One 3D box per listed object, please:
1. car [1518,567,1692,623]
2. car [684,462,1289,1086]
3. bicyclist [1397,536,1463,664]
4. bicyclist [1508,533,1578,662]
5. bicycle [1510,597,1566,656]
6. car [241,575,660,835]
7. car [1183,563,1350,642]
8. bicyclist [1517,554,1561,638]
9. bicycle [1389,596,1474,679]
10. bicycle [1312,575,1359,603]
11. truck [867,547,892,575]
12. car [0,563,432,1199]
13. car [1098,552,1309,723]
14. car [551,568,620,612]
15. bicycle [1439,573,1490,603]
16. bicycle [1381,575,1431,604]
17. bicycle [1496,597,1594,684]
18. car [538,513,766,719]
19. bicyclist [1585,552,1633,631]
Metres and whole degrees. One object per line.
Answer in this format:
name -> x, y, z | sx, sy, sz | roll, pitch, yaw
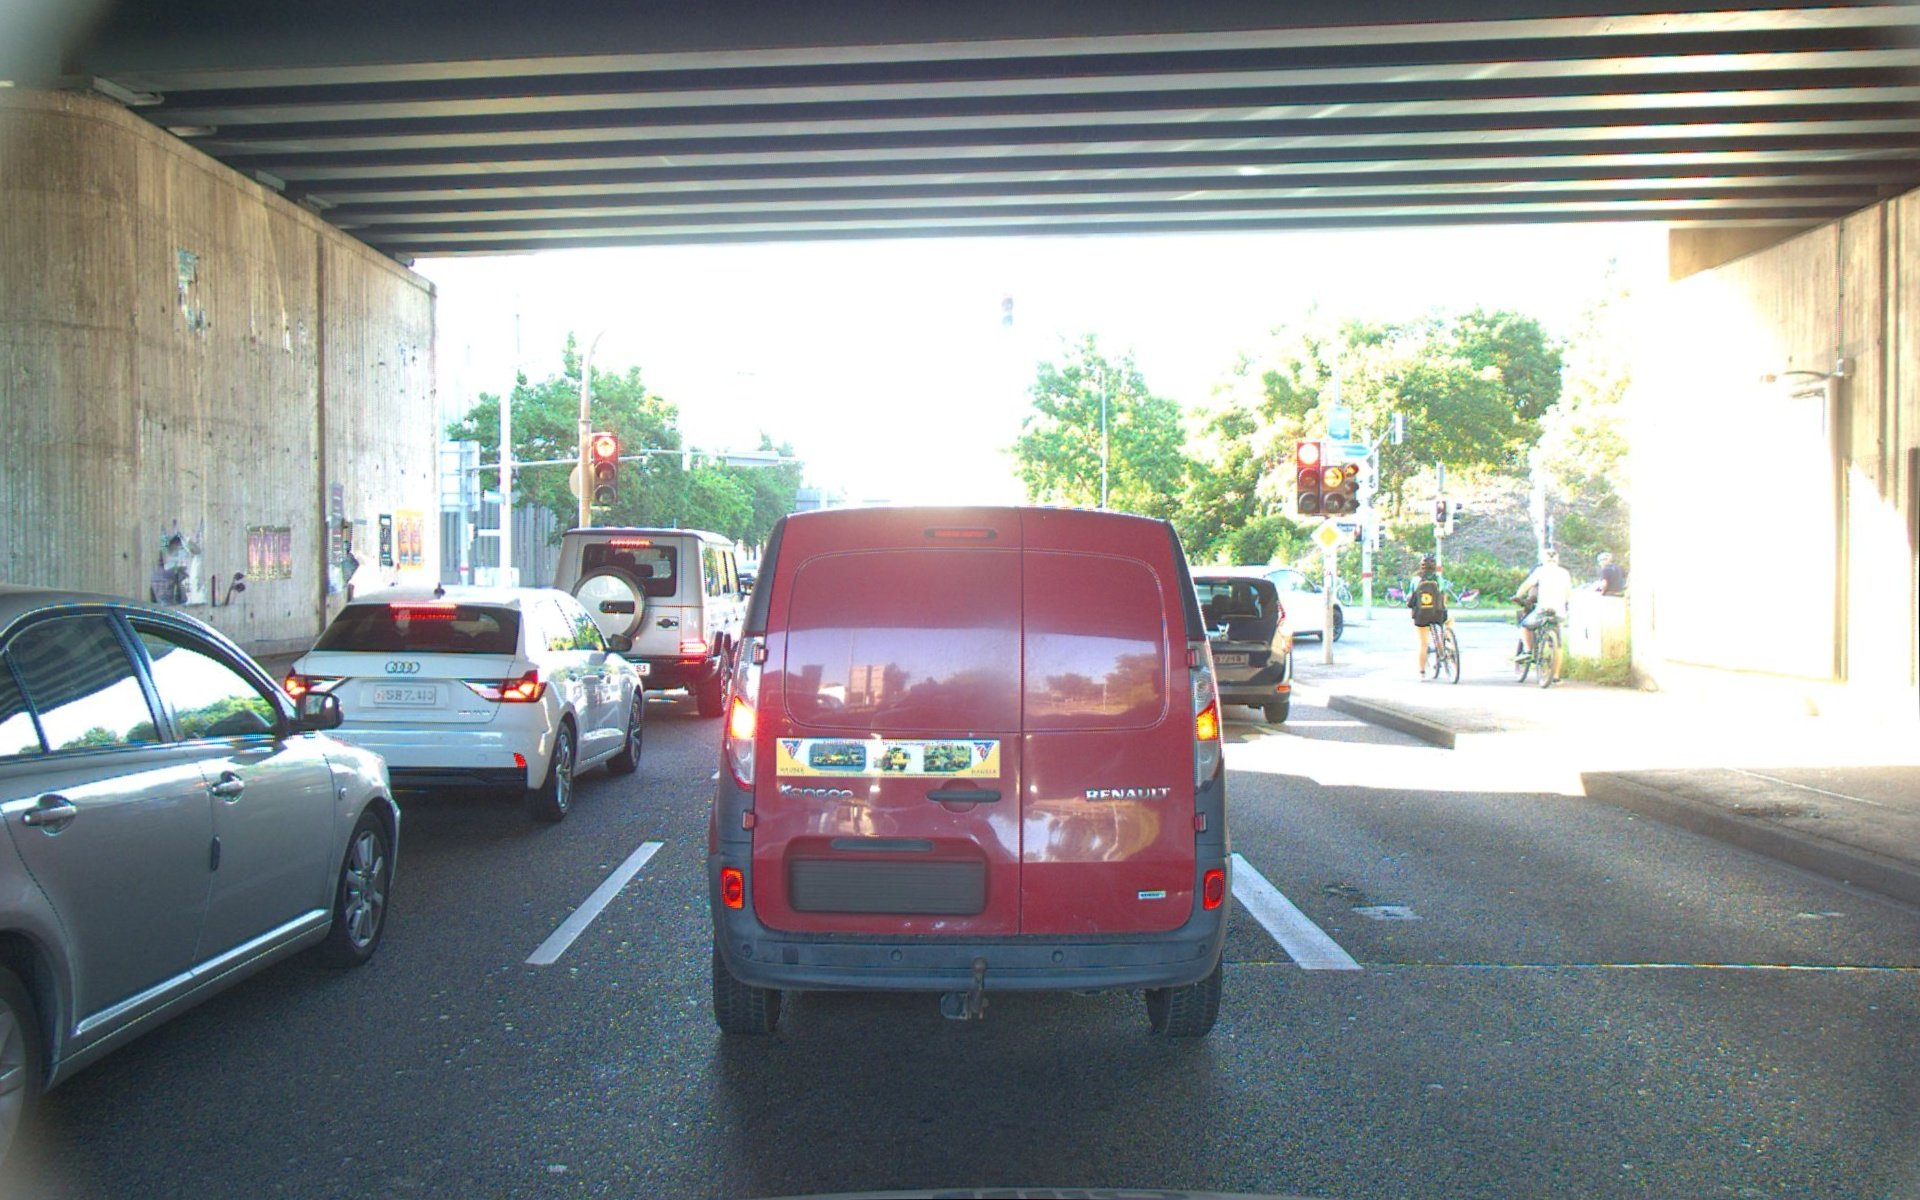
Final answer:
car -> 18.978, -0.149, 48.828 | 4.451, 1.540, 1.829 | 1, 0, 6
car -> 0.055, 0.528, 6.910 | 1.768, 1.826, 3.999 | 1, 0, -1
bicyclist -> 6.198, 0.005, 21.841 | 0.580, 1.642, 0.942 | 1, 0, -1
bicyclist -> 7.316, -0.026, 20.779 | 0.580, 1.575, 0.769 | 1, -1, -1
bicycle -> 10.541, 0.478, 30.104 | 0.658, 1.041, 2.052 | 1, 0, 28
car -> -3.258, 0.576, 11.342 | 1.777, 1.463, 3.730 | 1, 1, -1
car -> 6.605, 0.043, 35.304 | 1.850, 1.570, 4.175 | 0, 0, 37
bicyclist -> 10.535, -0.071, 30.086 | 0.652, 1.500, 0.750 | 1, -1, 28
bicycle -> 6.206, 0.475, 21.842 | 0.579, 1.041, 1.750 | 1, 0, -1
bicycle -> 14.206, -0.413, 62.593 | 1.707, 1.041, 0.594 | 1, 0, 8
truck -> -9.049, -4.405, 187.307 | 2.360, 3.079, 6.657 | -2, 1, 0
car -> -3.012, 0.664, 4.822 | 1.698, 1.506, 4.317 | 0, 0, -2
car -> 2.655, 0.377, 18.881 | 1.684, 1.736, 3.980 | 0, 0, -2
car -> -16.114, -0.441, 71.378 | 1.787, 1.768, 4.630 | -2, 1, 1
bicycle -> 18.356, -0.432, 60.210 | 1.707, 1.041, 0.594 | 1, 0, 10
bicycle -> 16.473, -0.380, 61.165 | 1.707, 1.041, 0.594 | 1, 0, 8
bicycle -> 7.324, 0.490, 20.779 | 0.579, 1.041, 1.750 | 1, 0, -1
car -> -3.344, 0.171, 18.814 | 1.764, 2.023, 4.588 | 1, 0, -1
bicyclist -> 12.474, -0.169, 31.785 | 0.636, 1.506, 0.618 | 0, 1, -4
